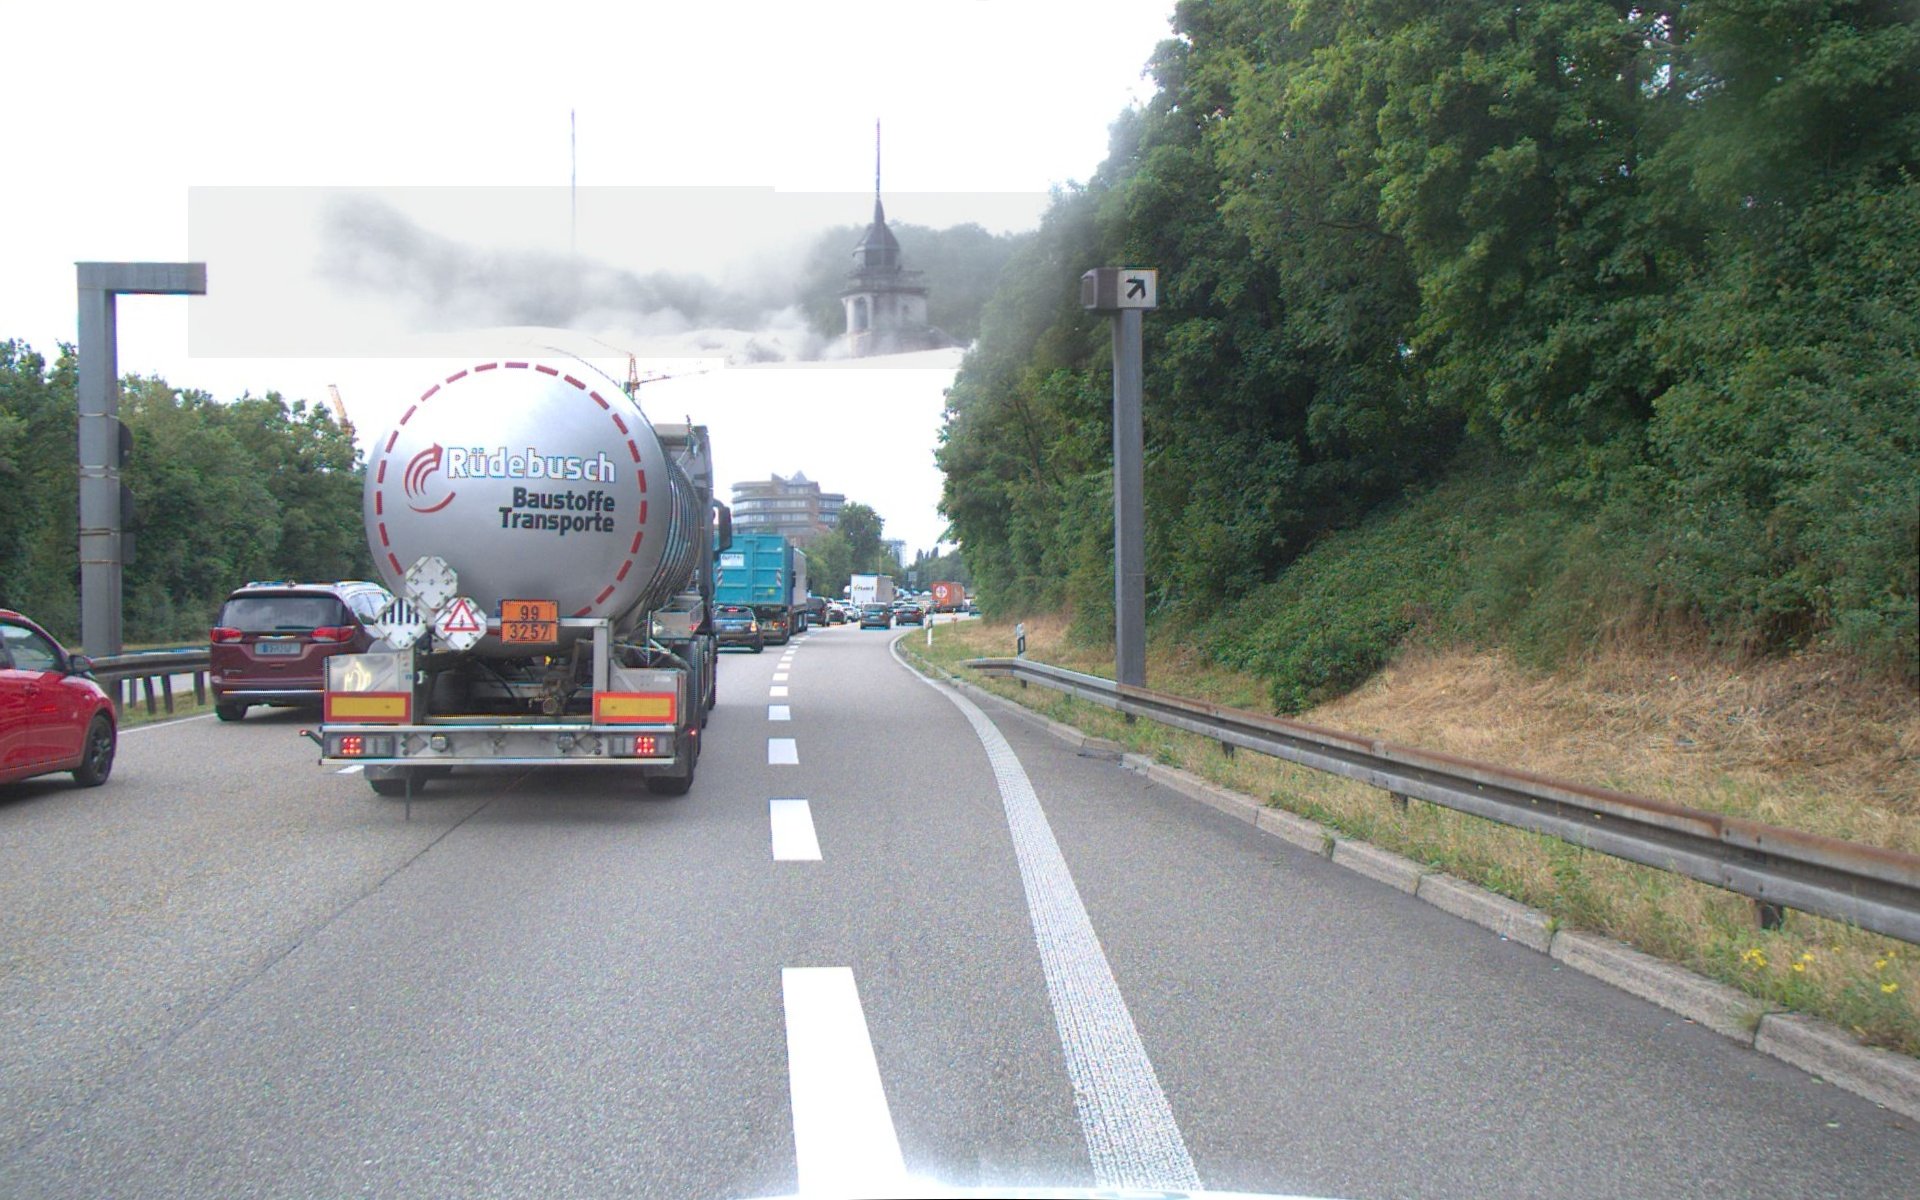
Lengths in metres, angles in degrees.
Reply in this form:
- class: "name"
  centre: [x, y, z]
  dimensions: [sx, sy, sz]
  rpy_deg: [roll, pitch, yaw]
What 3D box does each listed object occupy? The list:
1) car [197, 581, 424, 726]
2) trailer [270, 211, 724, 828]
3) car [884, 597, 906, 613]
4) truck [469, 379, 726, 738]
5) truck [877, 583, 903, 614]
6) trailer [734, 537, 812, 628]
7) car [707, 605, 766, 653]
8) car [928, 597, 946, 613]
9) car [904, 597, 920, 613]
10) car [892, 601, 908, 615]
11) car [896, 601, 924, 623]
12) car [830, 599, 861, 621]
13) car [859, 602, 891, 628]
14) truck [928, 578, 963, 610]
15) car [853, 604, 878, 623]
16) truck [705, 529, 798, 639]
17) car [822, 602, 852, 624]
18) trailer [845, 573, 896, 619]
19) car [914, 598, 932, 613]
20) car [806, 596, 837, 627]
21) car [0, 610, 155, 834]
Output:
- class: "car"
  centre: [-8.462, 0.662, 21.930]
  dimensions: [1.840, 1.737, 3.993]
  rpy_deg: [1, -1, -7]
- class: "trailer"
  centre: [-3.784, -0.541, 16.269]
  dimensions: [2.632, 3.975, 10.969]
  rpy_deg: [-1, 0, -7]
- class: "car"
  centre: [-7.198, 0.505, 183.706]
  dimensions: [1.762, 1.632, 4.261]
  rpy_deg: [-2, 1, 5]
- class: "truck"
  centre: [-4.524, -0.485, 21.926]
  dimensions: [2.632, 3.975, 6.925]
  rpy_deg: [-1, 0, -7]
- class: "truck"
  centre: [-9.966, -0.147, 236.590]
  dimensions: [2.681, 4.211, 10.700]
  rpy_deg: [0, -1, 3]
- class: "trailer"
  centre: [-9.063, -0.727, 81.567]
  dimensions: [2.573, 4.093, 13.459]
  rpy_deg: [1, -1, -1]
- class: "car"
  centre: [-7.060, 0.889, 52.384]
  dimensions: [1.714, 1.447, 3.659]
  rpy_deg: [0, 0, -6]
- class: "car"
  centre: [-2.985, 0.589, 216.839]
  dimensions: [1.951, 2.049, 4.002]
  rpy_deg: [-1, 0, 4]
- class: "car"
  centre: [-6.517, 0.651, 225.367]
  dimensions: [1.779, 2.049, 4.002]
  rpy_deg: [-1, 0, 4]
- class: "car"
  centre: [-6.774, 0.869, 186.484]
  dimensions: [1.499, 1.579, 3.419]
  rpy_deg: [-1, 0, 3]
- class: "car"
  centre: [-3.521, 0.838, 117.075]
  dimensions: [1.787, 1.508, 4.001]
  rpy_deg: [-1, 0, 2]
- class: "car"
  centre: [-9.131, 0.815, 132.707]
  dimensions: [1.915, 1.724, 4.867]
  rpy_deg: [-1, 0, 3]
- class: "car"
  centre: [-5.156, 0.881, 100.502]
  dimensions: [1.788, 1.508, 3.999]
  rpy_deg: [-1, 0, -1]
- class: "truck"
  centre: [-1.897, -0.819, 228.555]
  dimensions: [3.416, 4.144, 13.600]
  rpy_deg: [-1, 0, 5]
- class: "car"
  centre: [-8.173, 1.157, 143.111]
  dimensions: [1.728, 1.504, 4.089]
  rpy_deg: [-3, 0, 1]
- class: "truck"
  centre: [-7.963, -0.566, 64.405]
  dimensions: [2.871, 3.863, 11.321]
  rpy_deg: [-1, 0, -4]
- class: "car"
  centre: [-8.904, 0.932, 119.734]
  dimensions: [1.809, 1.485, 4.830]
  rpy_deg: [-1, 0, 0]
- class: "trailer"
  centre: [-8.362, -0.321, 156.062]
  dimensions: [3.229, 4.107, 13.103]
  rpy_deg: [0, -1, 4]
- class: "car"
  centre: [-4.470, 0.687, 198.172]
  dimensions: [1.681, 1.713, 4.002]
  rpy_deg: [0, -1, 5]
- class: "car"
  centre: [-9.077, 0.712, 107.828]
  dimensions: [1.949, 1.931, 4.979]
  rpy_deg: [-1, 0, -5]
- class: "car"
  centre: [-7.552, 0.853, 12.185]
  dimensions: [1.596, 1.550, 4.084]
  rpy_deg: [1, -1, -6]
